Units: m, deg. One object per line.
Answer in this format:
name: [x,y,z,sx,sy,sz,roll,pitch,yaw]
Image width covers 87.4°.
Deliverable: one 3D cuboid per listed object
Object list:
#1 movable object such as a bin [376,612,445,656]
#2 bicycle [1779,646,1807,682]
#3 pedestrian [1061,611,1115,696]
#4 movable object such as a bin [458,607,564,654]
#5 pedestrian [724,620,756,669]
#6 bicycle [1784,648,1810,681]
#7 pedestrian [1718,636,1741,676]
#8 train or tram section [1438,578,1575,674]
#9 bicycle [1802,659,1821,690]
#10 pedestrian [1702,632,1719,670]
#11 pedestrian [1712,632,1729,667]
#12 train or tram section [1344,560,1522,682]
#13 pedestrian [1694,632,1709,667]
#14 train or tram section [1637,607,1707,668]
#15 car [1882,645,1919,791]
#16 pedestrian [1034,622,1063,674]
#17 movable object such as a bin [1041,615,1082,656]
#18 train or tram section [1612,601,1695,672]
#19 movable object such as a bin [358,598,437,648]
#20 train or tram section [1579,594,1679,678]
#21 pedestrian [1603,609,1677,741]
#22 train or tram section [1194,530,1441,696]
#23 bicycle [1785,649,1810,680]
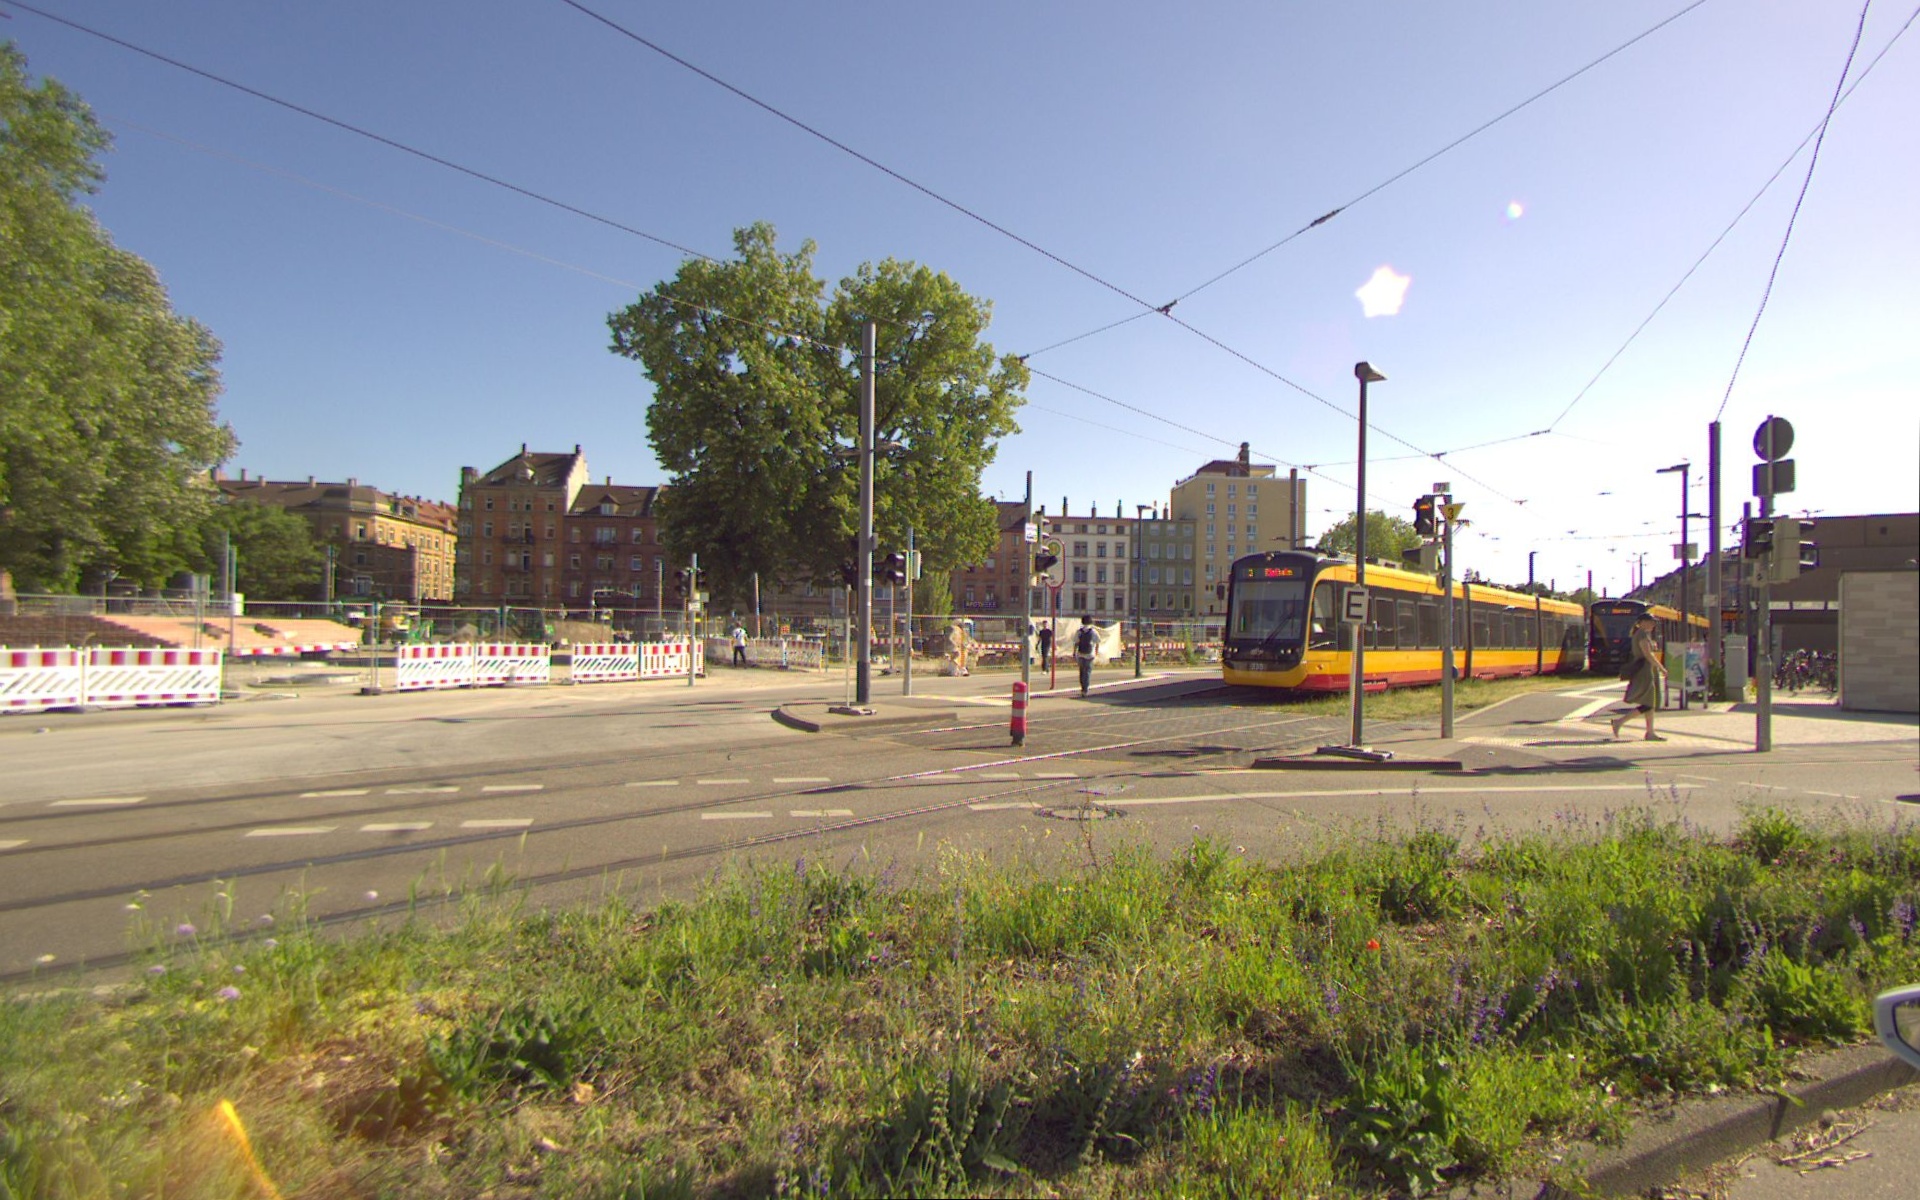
movable object such as a bin: [-31.924,1.939,58.475,1.858,2.377,4.226,3,-1,-5]
bicycle: [26.768,2.056,32.275,0.560,1.108,2.018,1,-2,43]
pedestrian: [2.865,1.204,22.481,0.750,1.856,1.014,-4,-5,41]
movable object such as a bin: [-29.627,2.048,66.411,5.975,2.795,1.891,3,-1,-9]
pedestrian: [-8.218,1.649,37.526,0.857,1.791,0.964,2,-2,-36]
bicycle: [29.226,2.244,35.075,0.560,1.108,2.018,1,-2,43]
pedestrian: [37.315,2.709,48.729,0.837,1.908,0.757,2,-2,39]
train or tram section: [23.363,1.150,42.518,2.784,3.554,11.155,1,-1,41]
bicycle: [28.187,2.450,33.257,0.416,0.950,1.300,2,-1,39]
pedestrian: [38.049,2.578,50.924,0.597,1.881,0.790,1,-2,43]
pedestrian: [41.686,2.720,55.052,0.625,1.881,0.699,1,-2,44]
train or tram section: [16.450,0.777,34.365,2.784,3.554,10.559,1,-1,41]
pedestrian: [40.654,2.724,55.064,0.624,1.881,0.701,2,-1,35]
train or tram section: [45.471,2.371,63.970,2.837,3.554,10.494,0,-1,40]
car: [11.386,1.167,9.639,4.024,1.411,1.802,2,-5,-14]
pedestrian: [3.066,1.655,34.782,0.659,1.791,0.796,0,-2,39]
movable object such as a bin: [7.451,2.568,73.924,1.801,2.832,3.992,3,-1,-11]
train or tram section: [38.714,2.040,55.889,2.837,3.554,10.494,0,-2,40]
movable object such as a bin: [-38.604,1.586,69.110,3.064,3.214,5.237,3,-1,-11]
train or tram section: [31.987,1.710,47.774,2.837,3.554,10.494,0,-2,40]
pedestrian: [10.124,1.085,14.979,0.887,1.875,0.762,0,1,33]
train or tram section: [9.788,0.476,26.400,2.784,3.554,10.432,-1,-2,39]
bicycle: [31.004,2.382,37.169,0.560,1.108,2.018,1,-2,43]
